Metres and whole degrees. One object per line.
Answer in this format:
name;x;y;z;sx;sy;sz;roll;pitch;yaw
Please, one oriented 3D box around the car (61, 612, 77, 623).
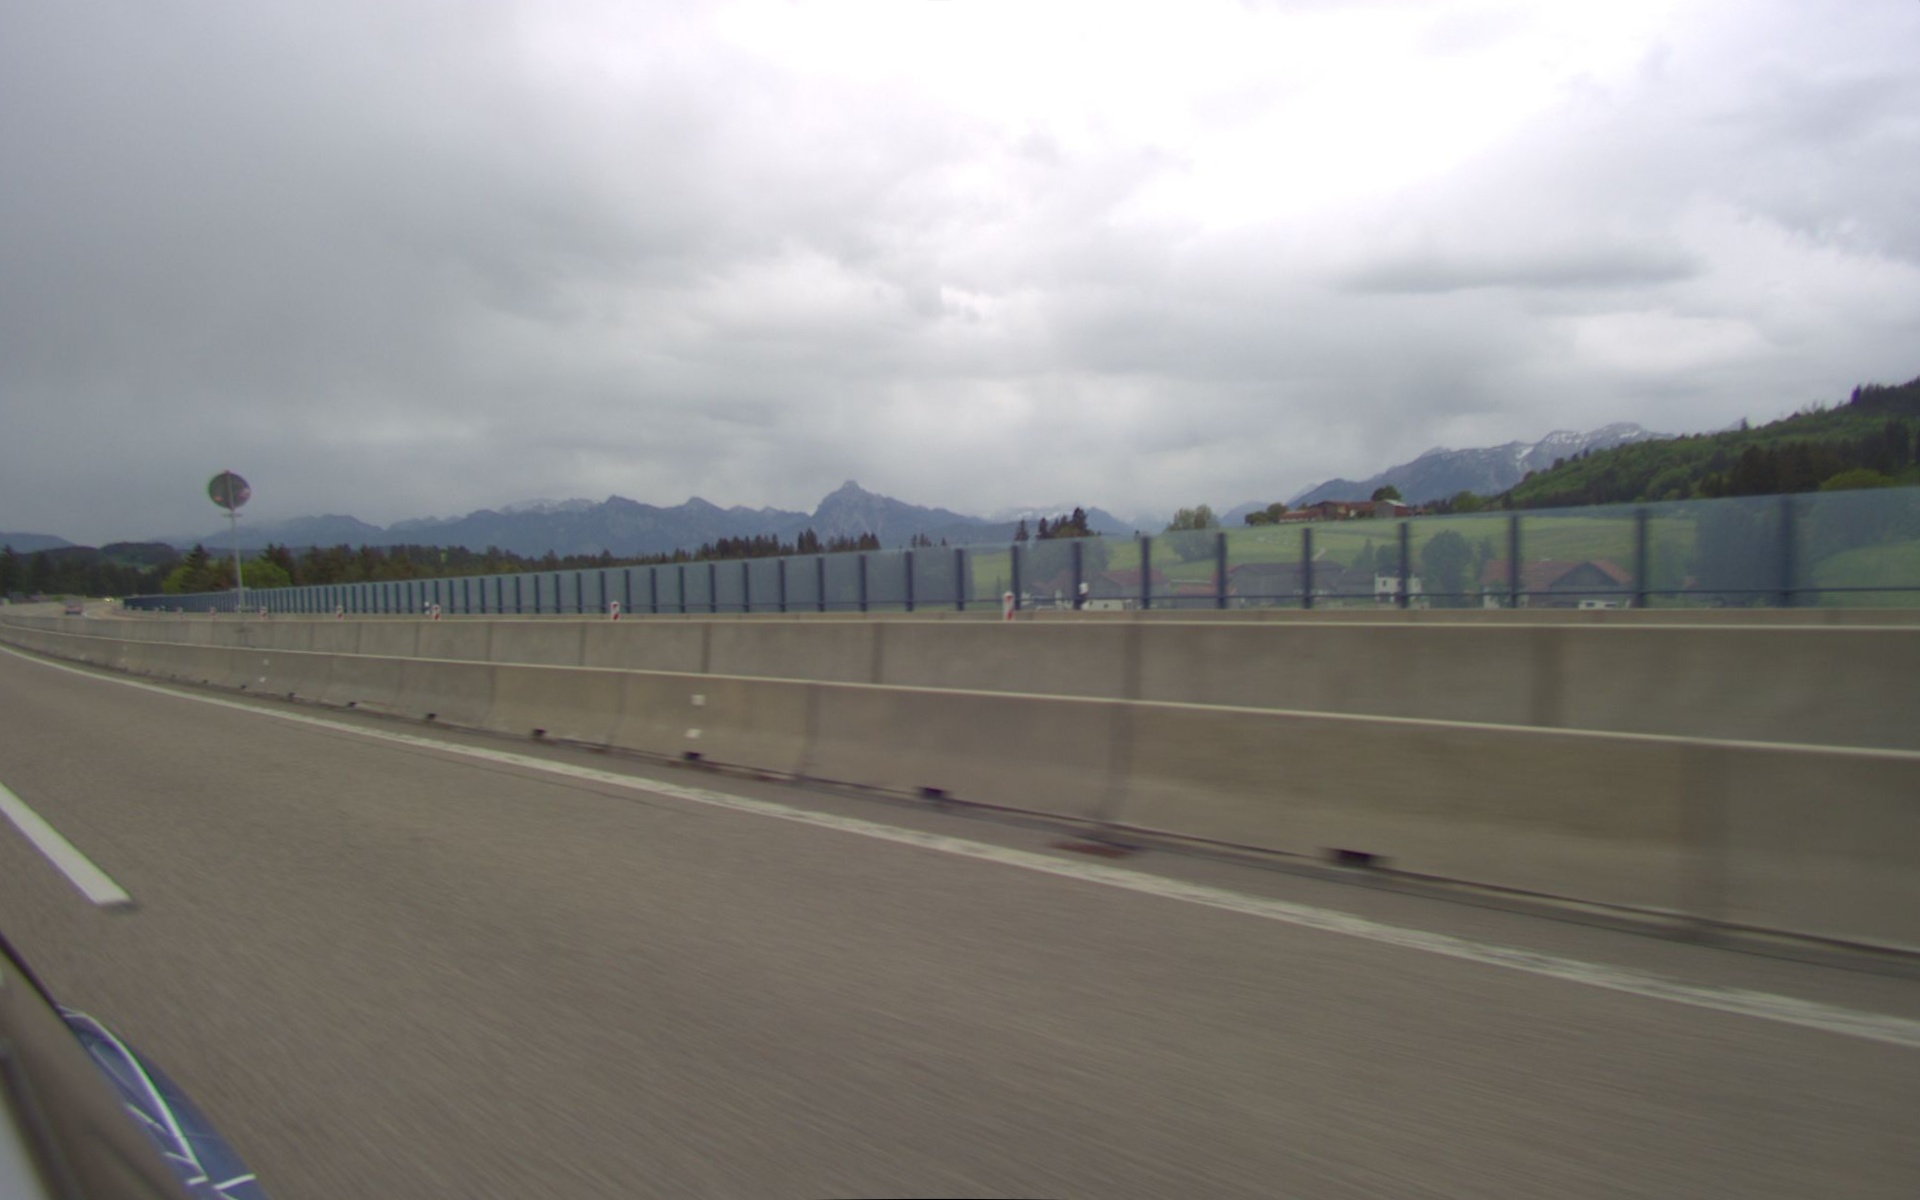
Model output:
car;-141.358;2.761;160.553;1.869;1.763;4.139;-1;0;-41
